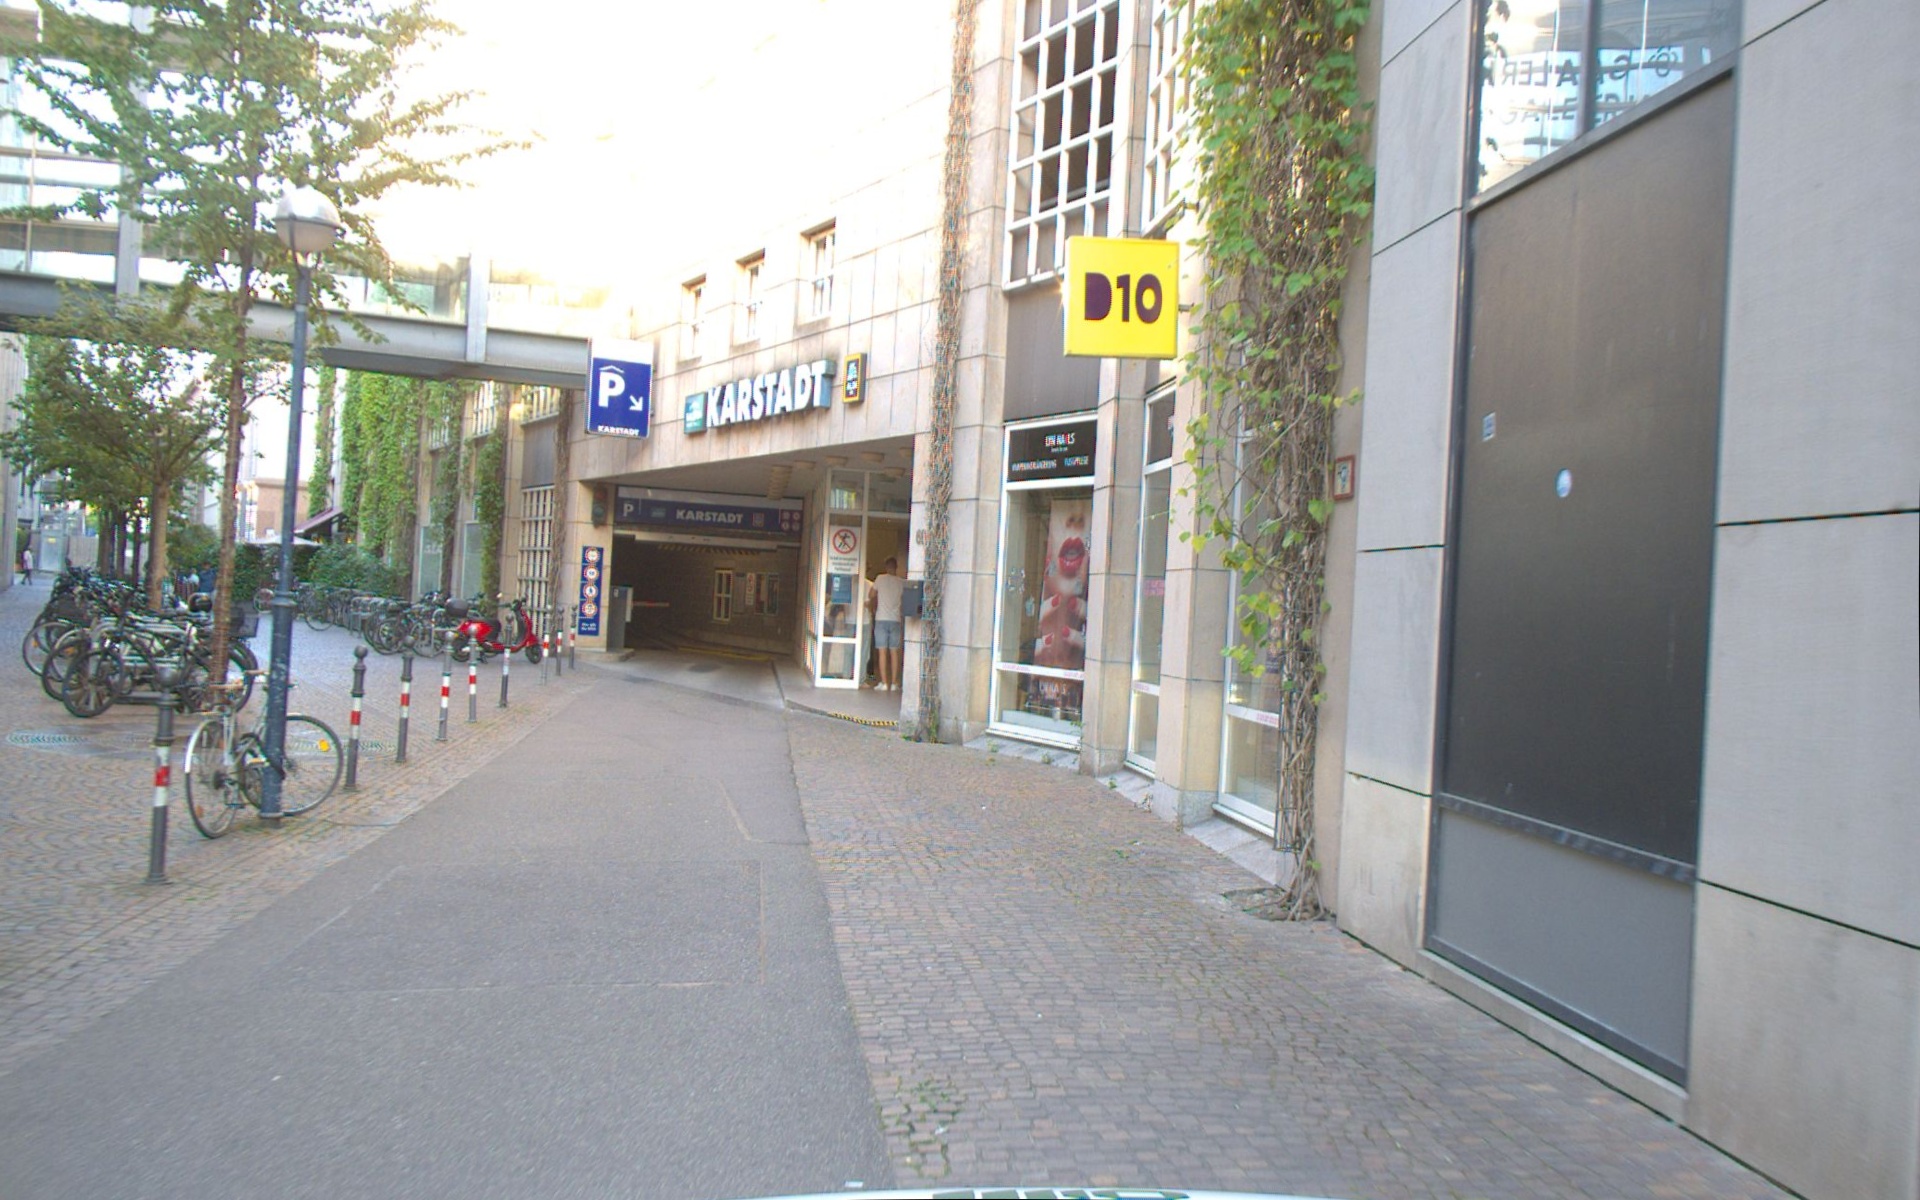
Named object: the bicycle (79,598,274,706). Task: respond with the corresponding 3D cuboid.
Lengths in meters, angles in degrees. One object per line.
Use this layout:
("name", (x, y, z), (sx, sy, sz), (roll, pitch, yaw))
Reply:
("bicycle", (-8.735, 0.588, 18.479), (1.891, 1.121, 0.690), (3, 0, -28))

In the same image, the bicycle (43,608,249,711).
("bicycle", (-8.622, 0.640, 17.568), (1.891, 1.011, 0.690), (3, 0, -28))

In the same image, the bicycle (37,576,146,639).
("bicycle", (-17.885, 0.151, 34.097), (1.888, 1.203, 0.691), (3, 0, -25))

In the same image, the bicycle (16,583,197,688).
("bicycle", (-10.456, 0.437, 20.342), (1.888, 1.203, 0.691), (3, 0, -25))

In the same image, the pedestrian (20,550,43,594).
("pedestrian", (-39.242, -1.189, 69.885), (0.767, 1.836, 0.627), (2, 0, -34))

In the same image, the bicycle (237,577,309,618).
("bicycle", (-20.937, -0.078, 50.413), (1.970, 1.203, 0.688), (1, 1, -27))

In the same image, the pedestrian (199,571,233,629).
("pedestrian", (-19.967, -0.007, 44.404), (0.740, 1.536, 0.632), (2, 0, -30))

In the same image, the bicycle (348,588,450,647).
("bicycle", (-11.883, 0.375, 35.029), (1.970, 1.203, 0.688), (1, 1, -27))

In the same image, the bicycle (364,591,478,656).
("bicycle", (-10.312, 0.444, 31.644), (1.970, 1.203, 0.795), (1, 1, -27))

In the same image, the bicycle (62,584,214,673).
("bicycle", (-11.833, 0.410, 23.873), (1.888, 1.203, 0.691), (3, 0, -25))

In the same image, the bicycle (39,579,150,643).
("bicycle", (-17.433, 0.224, 33.346), (1.888, 1.203, 0.691), (3, 0, -25))

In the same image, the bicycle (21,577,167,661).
("bicycle", (-13.301, 0.299, 25.463), (1.888, 1.203, 0.691), (3, 0, -25))

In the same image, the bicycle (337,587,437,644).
("bicycle", (-12.409, 0.337, 35.845), (1.970, 1.203, 0.688), (1, 1, -27))

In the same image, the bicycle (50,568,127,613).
("bicycle", (-25.207, -0.272, 47.868), (1.888, 1.203, 0.691), (3, 0, -25))

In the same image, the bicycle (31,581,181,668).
("bicycle", (-12.620, 0.372, 24.508), (1.888, 1.203, 0.691), (3, 0, -25))

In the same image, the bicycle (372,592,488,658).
("bicycle", (-9.870, 0.464, 30.818), (1.970, 1.203, 0.690), (1, 1, -27))

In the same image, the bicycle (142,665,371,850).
("bicycle", (-4.342, 0.936, 10.343), (0.494, 0.983, 1.696), (2, 0, 7))

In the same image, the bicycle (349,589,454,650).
("bicycle", (-11.506, 0.398, 34.086), (1.970, 1.203, 0.795), (1, 1, -27))

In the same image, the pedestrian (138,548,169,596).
("pedestrian", (-28.649, -0.990, 58.756), (0.882, 1.668, 0.903), (2, 0, -29))

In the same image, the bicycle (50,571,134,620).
("bicycle", (-23.147, -0.115, 44.150), (1.888, 1.203, 0.691), (3, 0, -25))

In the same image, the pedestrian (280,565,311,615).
("pedestrian", (-25.166, -0.370, 62.636), (0.758, 1.836, 0.768), (2, 0, 2))

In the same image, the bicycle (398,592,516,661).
("bicycle", (-9.136, 0.480, 30.054), (1.970, 1.203, 0.690), (1, 1, -27))

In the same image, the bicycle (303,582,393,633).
("bicycle", (-14.870, 0.176, 40.209), (1.970, 1.203, 0.688), (1, 1, -27))

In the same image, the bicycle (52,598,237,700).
("bicycle", (-9.600, 0.576, 19.554), (1.888, 1.121, 0.691), (3, 0, -25))

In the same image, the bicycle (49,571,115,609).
("bicycle", (-30.200, -0.352, 56.908), (1.888, 1.203, 0.691), (3, 0, -25))

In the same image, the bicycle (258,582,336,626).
("bicycle", (-18.535, 0.104, 46.224), (1.970, 1.203, 0.688), (1, 1, -27))

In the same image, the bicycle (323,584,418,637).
("bicycle", (-13.545, 0.243, 38.015), (1.970, 1.203, 0.688), (1, 1, -27))

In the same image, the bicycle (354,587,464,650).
("bicycle", (-10.894, 0.367, 32.705), (1.970, 1.203, 0.795), (1, 1, -27))

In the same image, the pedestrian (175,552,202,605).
("pedestrian", (-27.072, -0.763, 58.049), (0.756, 1.836, 0.769), (2, 0, -29))

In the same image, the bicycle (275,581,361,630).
("bicycle", (-16.246, 0.145, 41.847), (1.970, 1.203, 0.688), (1, 1, -27))

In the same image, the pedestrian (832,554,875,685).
("pedestrian", (-1.553, 0.275, 24.197), (0.531, 1.878, 0.408), (3, 0, -1))

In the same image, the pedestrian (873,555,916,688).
("pedestrian", (-0.951, 0.307, 24.040), (0.531, 1.894, 0.408), (3, 0, -1))

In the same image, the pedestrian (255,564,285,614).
("pedestrian", (-26.141, -0.417, 62.667), (0.758, 1.836, 0.768), (2, 0, 2))

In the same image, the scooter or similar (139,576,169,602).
("scooter or similar", (-28.243, -0.392, 57.960), (0.882, 0.858, 0.903), (2, 0, -29))

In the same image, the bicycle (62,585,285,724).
("bicycle", (-7.718, 0.541, 16.270), (1.891, 1.283, 0.801), (3, 0, -28))

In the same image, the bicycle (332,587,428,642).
("bicycle", (-12.976, 0.324, 37.013), (1.970, 1.203, 0.688), (1, 1, -27))

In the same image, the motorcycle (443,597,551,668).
("motorcycle", (-7.984, 0.558, 28.527), (1.723, 1.175, 0.590), (1, 0, -25))

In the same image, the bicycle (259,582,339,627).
("bicycle", (-18.165, 0.133, 45.459), (1.970, 1.203, 0.688), (1, 1, -27))
